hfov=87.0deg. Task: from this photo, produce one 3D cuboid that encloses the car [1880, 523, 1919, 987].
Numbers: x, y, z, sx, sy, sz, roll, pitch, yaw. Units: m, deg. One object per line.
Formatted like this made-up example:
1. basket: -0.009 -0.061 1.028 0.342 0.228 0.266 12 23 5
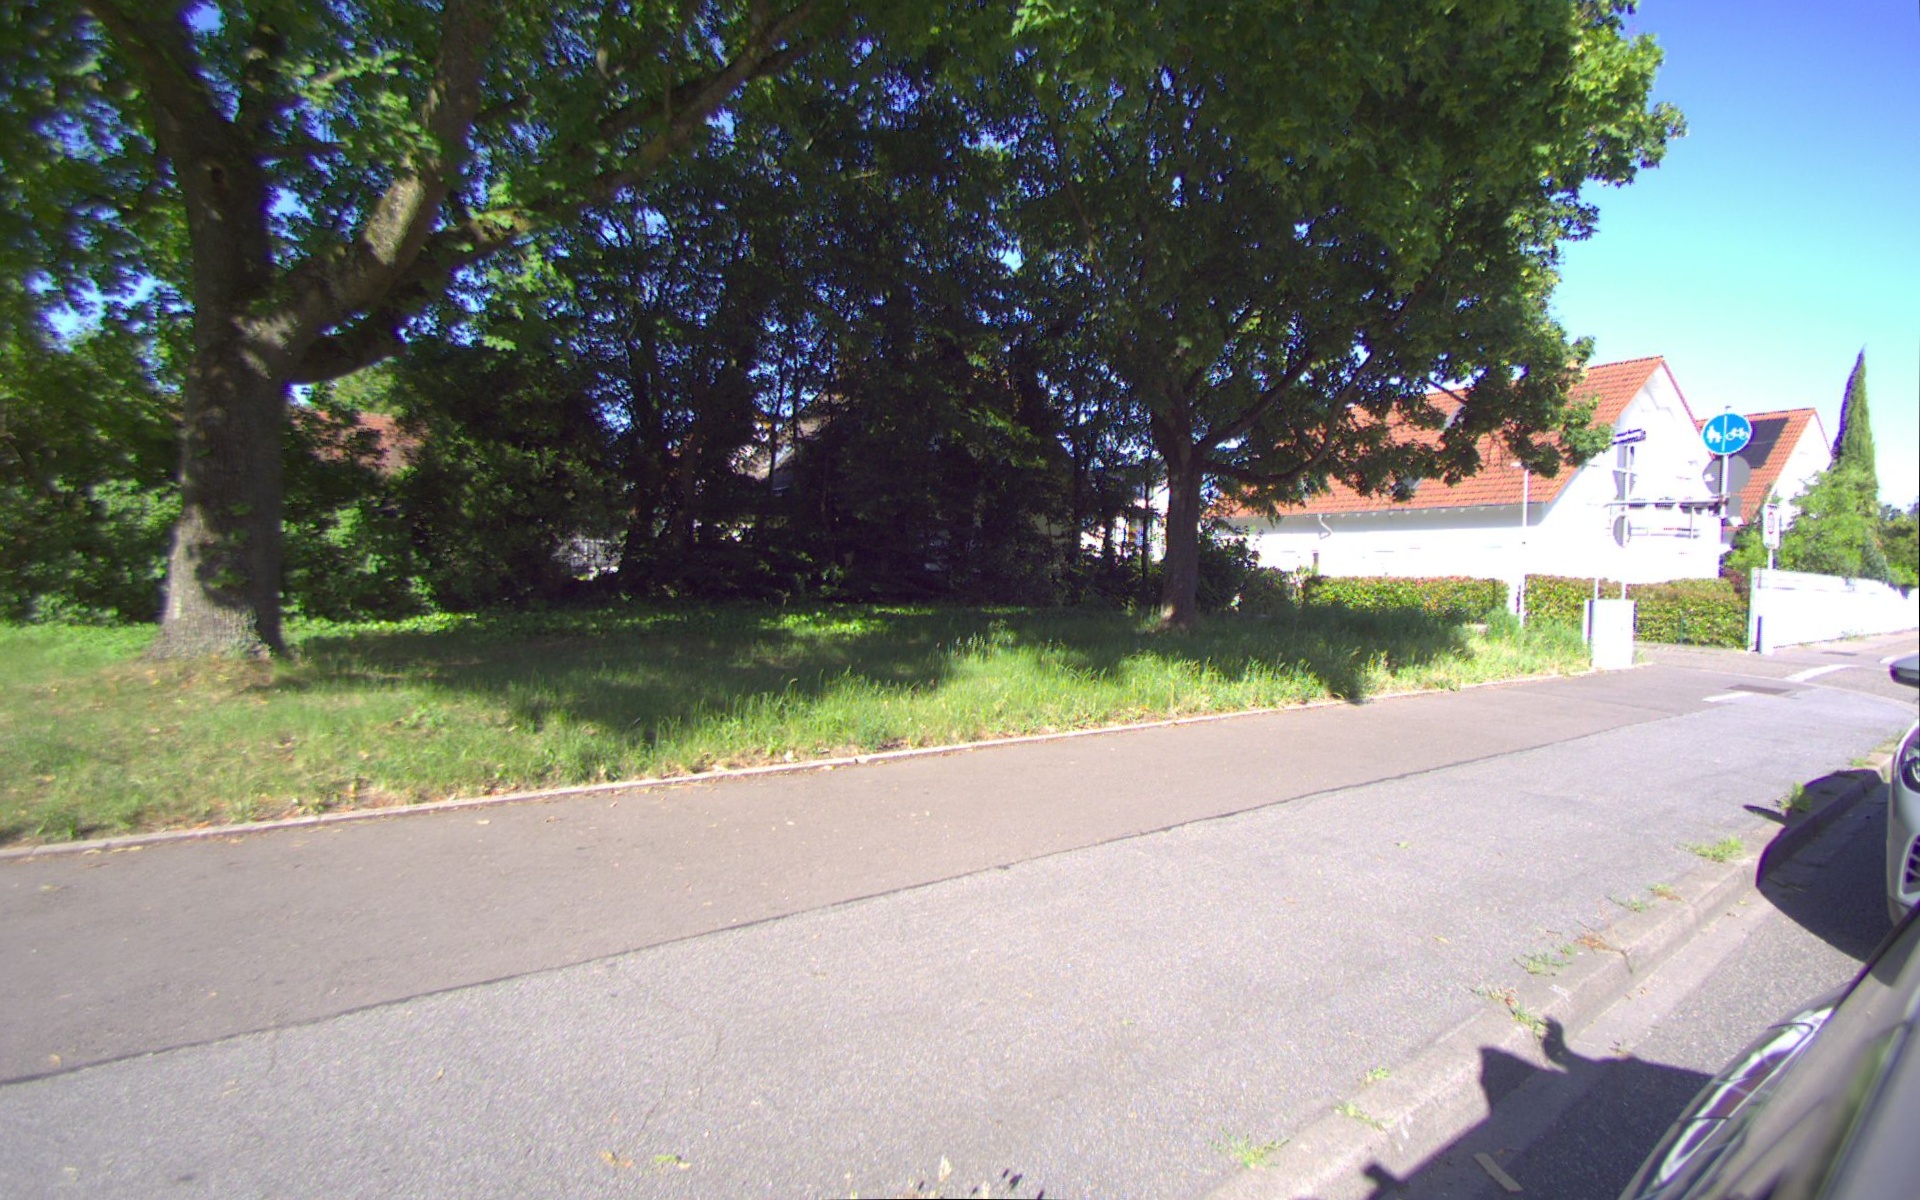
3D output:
1. car: 5.643 0.594 4.440 4.133 1.710 1.857 0 3 -41
